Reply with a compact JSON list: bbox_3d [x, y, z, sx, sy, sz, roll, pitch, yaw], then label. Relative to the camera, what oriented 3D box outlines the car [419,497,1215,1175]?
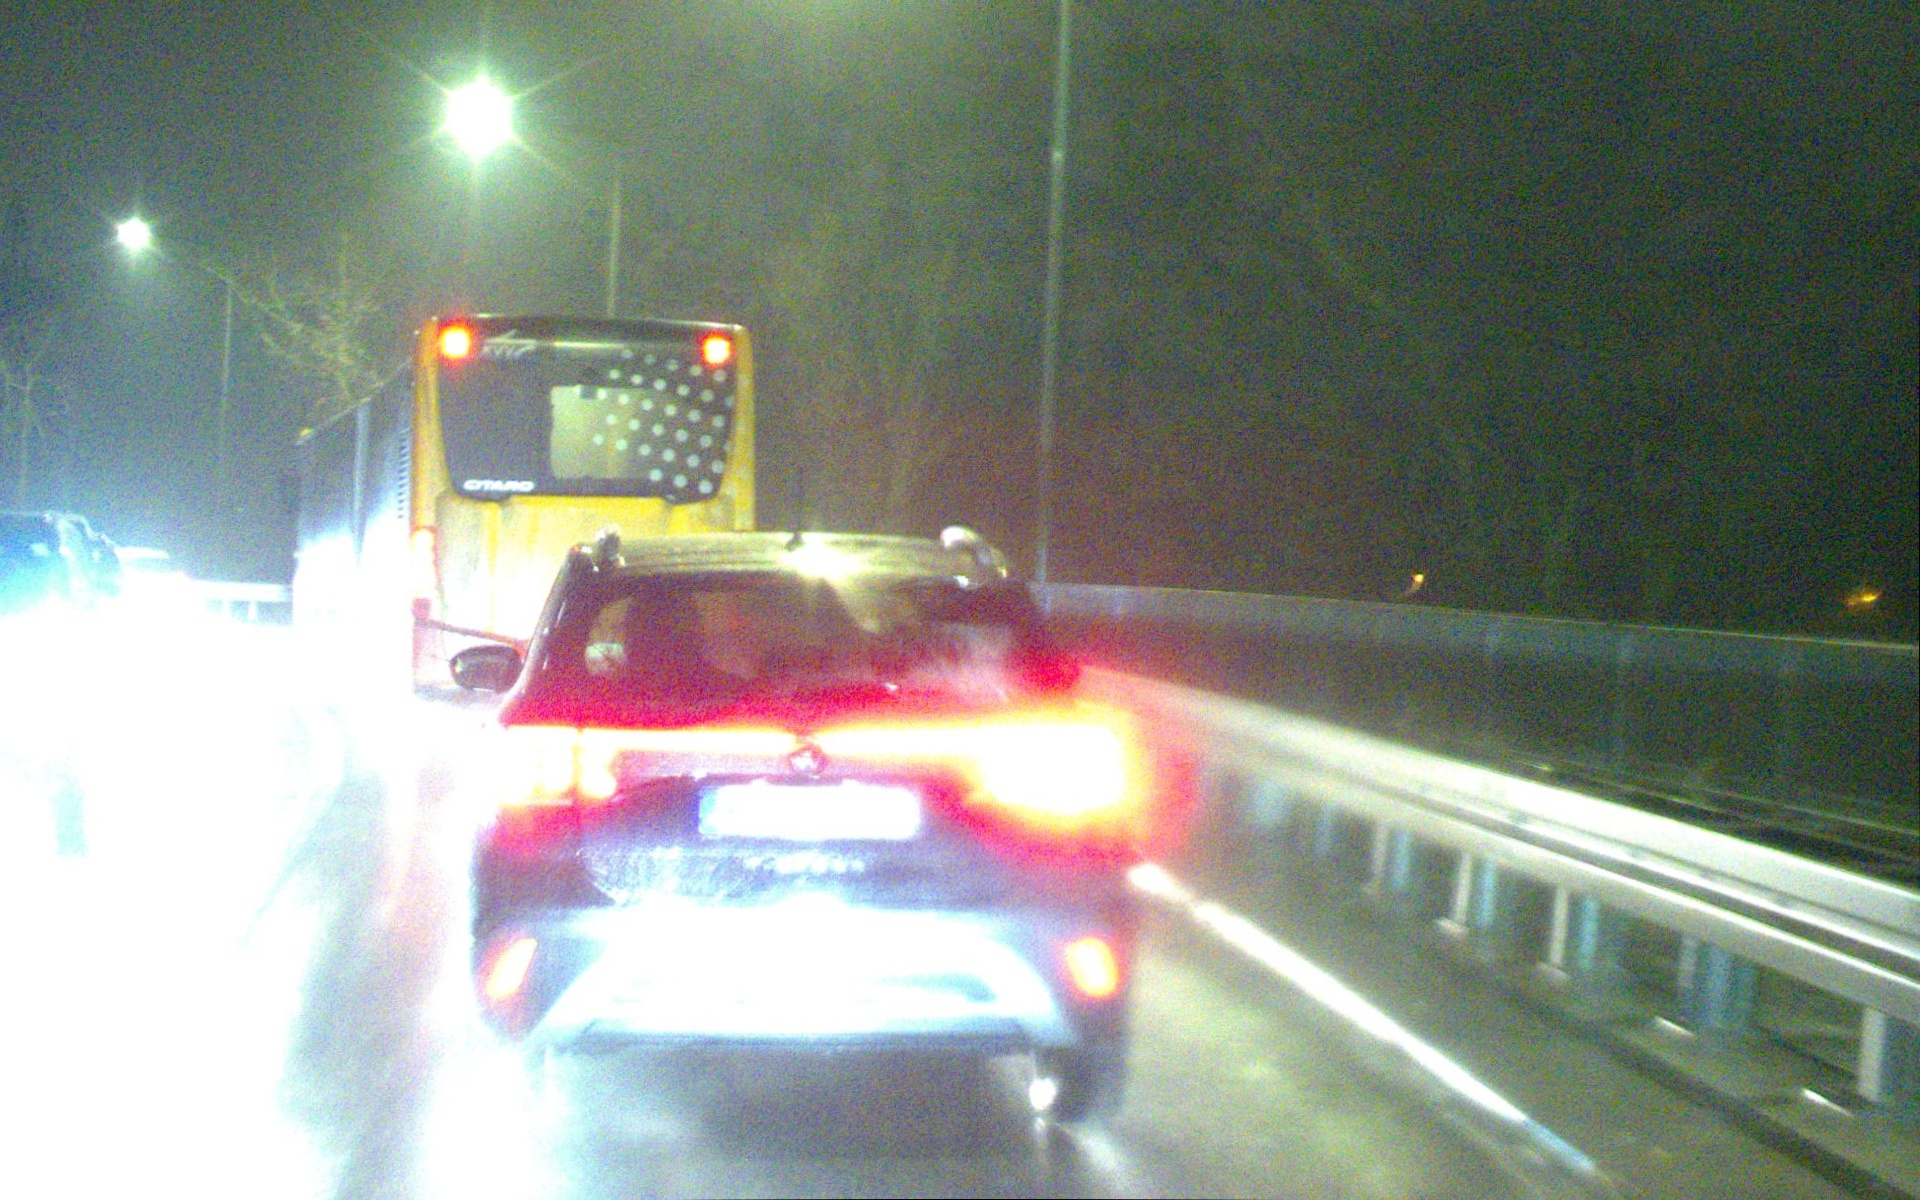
[{"bbox_3d":[-0.431,0.526,10.045,1.855,1.581,4.001,0,1,-3],"label":"car"}]

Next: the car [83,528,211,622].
[{"bbox_3d":[-15.419,-0.463,65.087,1.636,1.650,3.710,-2,0,-24],"label":"car"}]

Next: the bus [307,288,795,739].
[{"bbox_3d":[-4.025,-0.749,30.350,3.082,3.122,12.701,-1,1,-12],"label":"bus"}]

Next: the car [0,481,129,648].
[{"bbox_3d":[-12.902,-0.492,47.078,2.043,2.162,5.155,-1,1,-24],"label":"car"}]

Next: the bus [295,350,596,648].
[{"bbox_3d":[-6.220,-1.131,40.516,3.048,3.121,8.080,-1,1,-11],"label":"bus"}]

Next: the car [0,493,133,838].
[{"bbox_3d":[-5.650,0.301,19.013,1.778,1.698,4.315,-1,1,-10],"label":"car"}]
